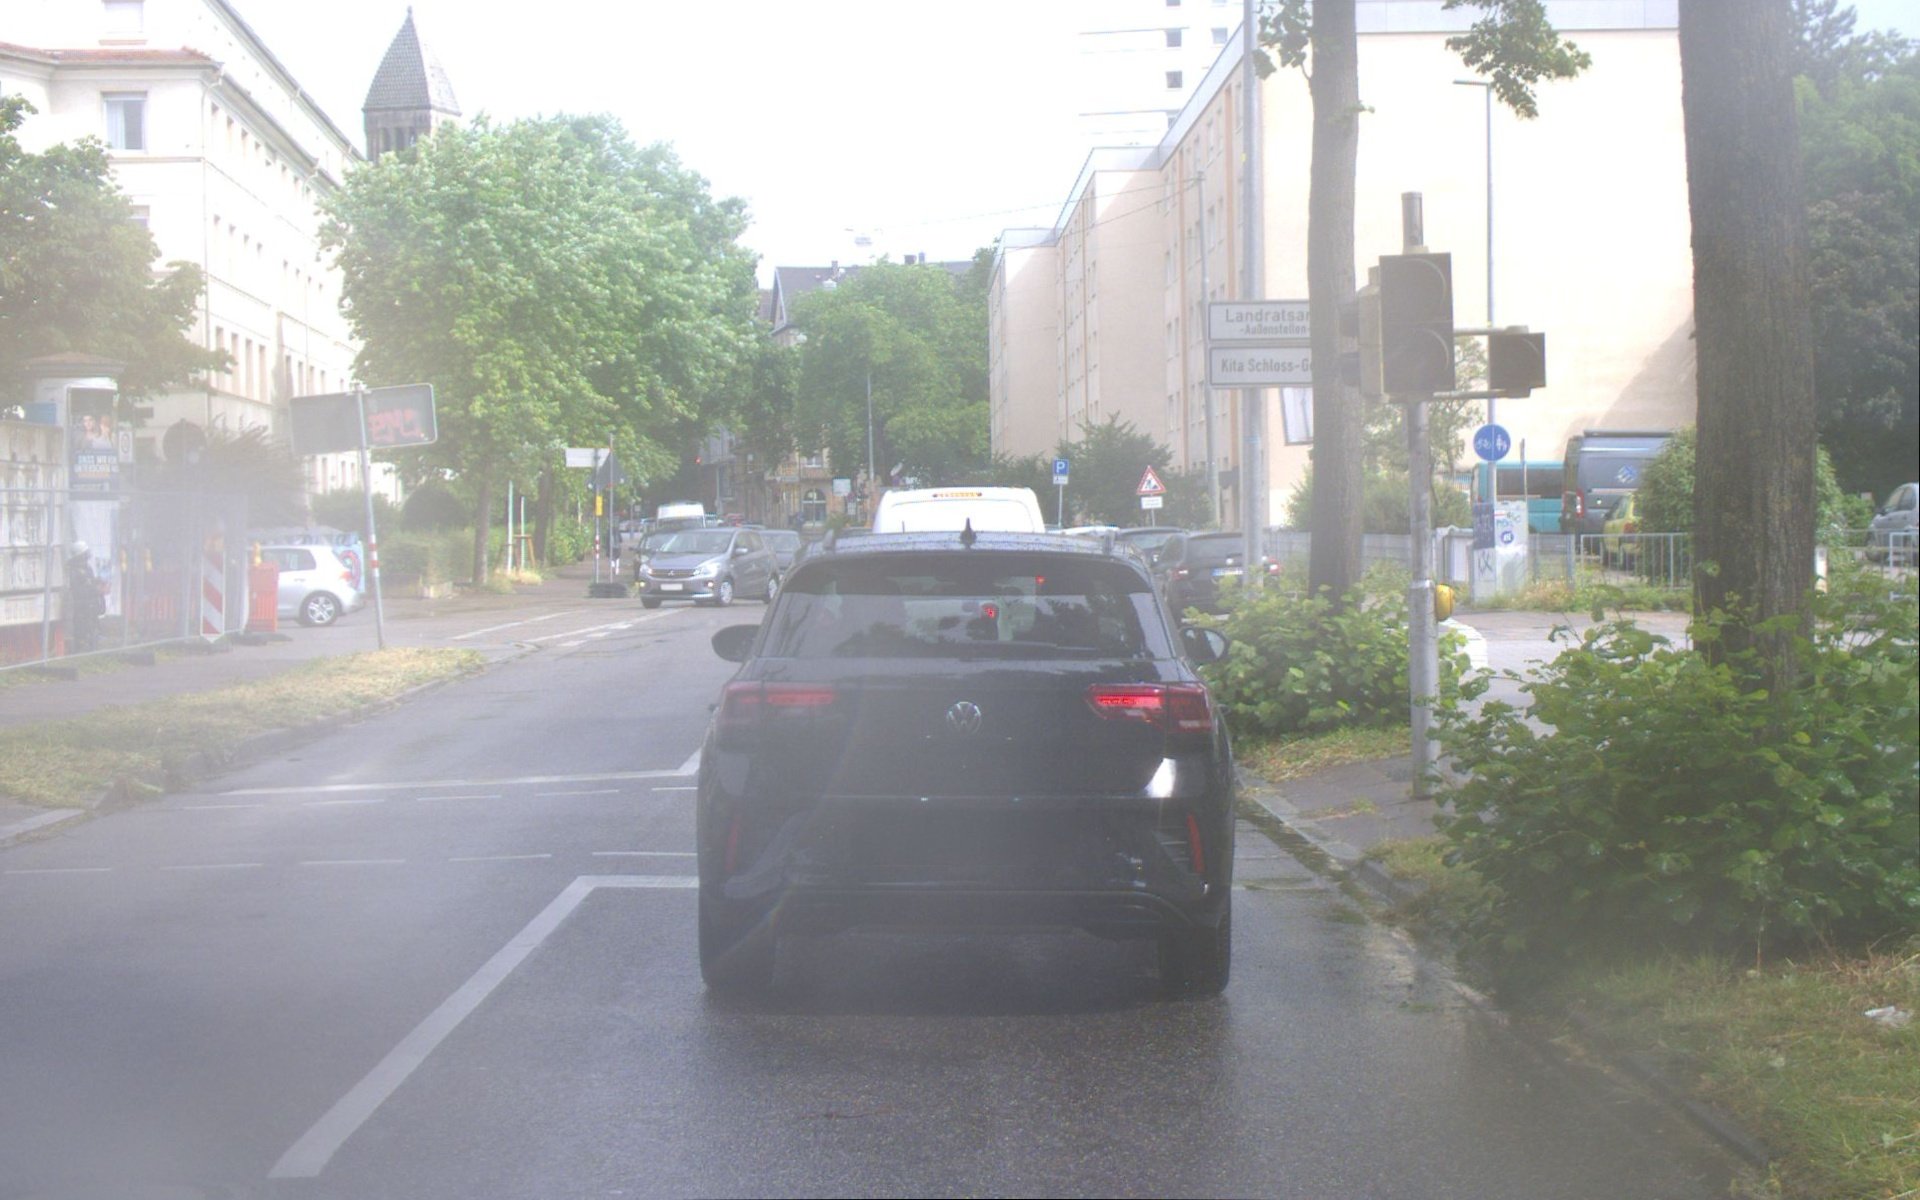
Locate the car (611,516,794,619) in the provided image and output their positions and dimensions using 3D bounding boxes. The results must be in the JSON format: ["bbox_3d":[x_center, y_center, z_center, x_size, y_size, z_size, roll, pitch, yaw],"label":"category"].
[{"bbox_3d":[-4.811,-0.638,64.886,1.790,1.678,4.483,-3,2,18],"label":"car"}]

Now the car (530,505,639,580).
[{"bbox_3d":[-8.268,-1.286,75.983,1.591,1.507,3.731,-4,1,5],"label":"car"}]

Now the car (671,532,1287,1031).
[{"bbox_3d":[0.064,0.523,12.629,1.895,1.517,4.000,0,1,0],"label":"car"}]

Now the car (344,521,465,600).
[{"bbox_3d":[-11.842,-0.856,73.489,1.591,1.507,3.731,-4,1,5],"label":"car"}]

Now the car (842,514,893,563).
[{"bbox_3d":[-3.120,-2.069,115.411,1.591,1.507,3.732,-4,1,-2],"label":"car"}]

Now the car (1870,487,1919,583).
[{"bbox_3d":[18.048,-1.249,63.399,1.743,1.678,3.870,-4,1,6],"label":"car"}]

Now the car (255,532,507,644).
[{"bbox_3d":[-10.041,-0.214,59.556,3.922,1.645,1.760,-4,1,-22],"label":"car"}]

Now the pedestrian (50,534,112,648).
[{"bbox_3d":[-11.627,-0.122,45.471,0.660,1.480,0.673,-1,2,-25],"label":"pedestrian"}]

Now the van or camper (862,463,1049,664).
[{"bbox_3d":[-0.012,-0.410,35.505,1.819,1.941,4.195,0,1,1],"label":"van or camper"}]

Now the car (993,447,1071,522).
[{"bbox_3d":[1.982,-3.193,95.549,1.993,2.007,4.000,-1,1,-1],"label":"car"}]

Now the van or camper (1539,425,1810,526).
[{"bbox_3d":[13.985,-2.442,67.502,4.874,1.919,2.131,0,2,0],"label":"van or camper"}]

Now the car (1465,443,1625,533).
[{"bbox_3d":[13.160,-2.520,77.454,3.408,1.775,1.759,-4,1,9],"label":"car"}]

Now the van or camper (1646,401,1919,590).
[{"bbox_3d":[12.711,-1.523,49.781,5.032,2.587,2.168,-2,1,-1],"label":"van or camper"}]

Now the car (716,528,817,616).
[{"bbox_3d":[-4.074,-0.616,73.088,1.789,1.678,4.136,-4,1,0],"label":"car"}]

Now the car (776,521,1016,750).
[{"bbox_3d":[-0.472,0.251,28.897,1.680,1.702,3.909,-3,1,3],"label":"car"}]
